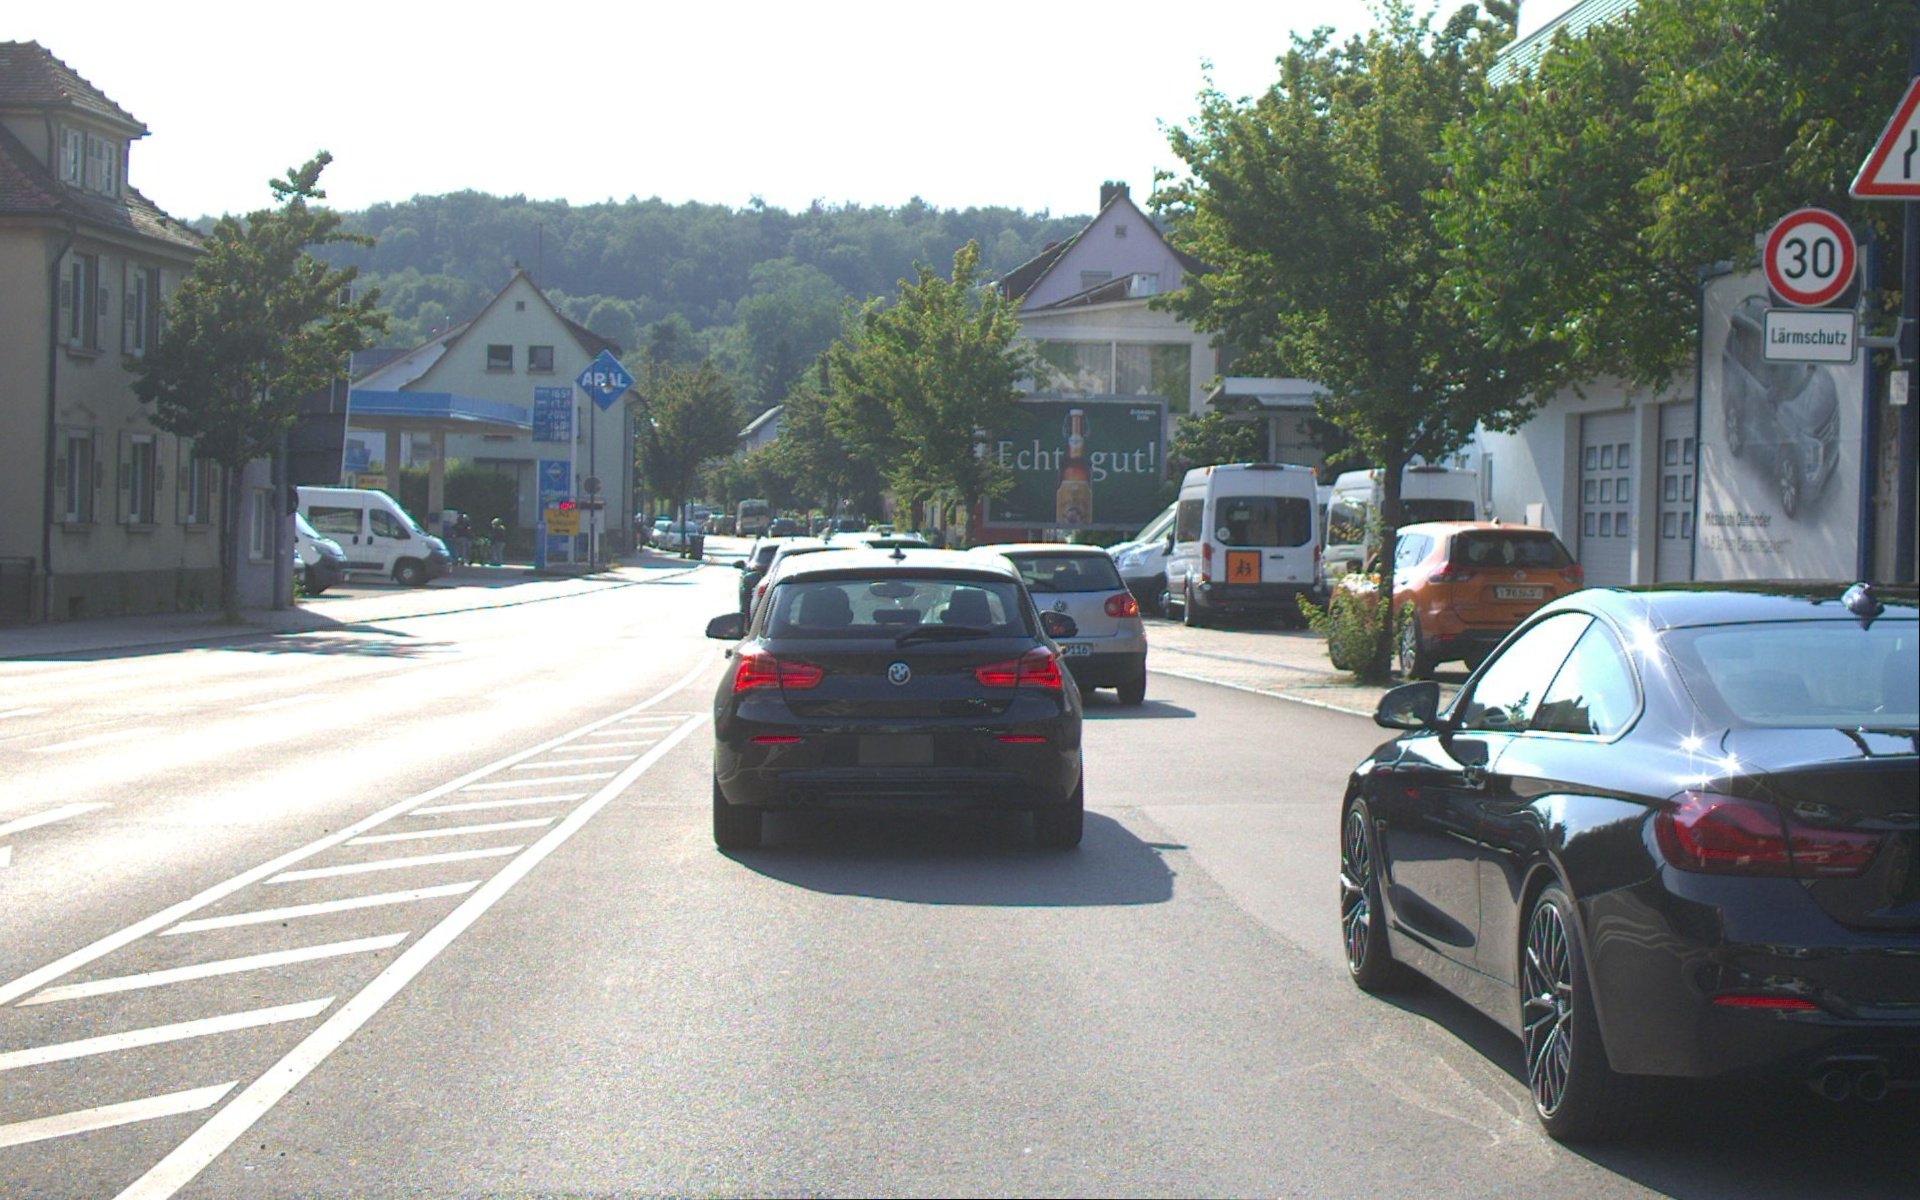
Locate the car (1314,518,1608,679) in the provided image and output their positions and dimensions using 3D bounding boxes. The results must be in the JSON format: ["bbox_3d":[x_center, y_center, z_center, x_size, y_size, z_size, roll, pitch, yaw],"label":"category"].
[{"bbox_3d":[5.349,-0.062,37.339,1.834,1.643,4.540,0,1,-10],"label":"car"}]

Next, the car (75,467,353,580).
[{"bbox_3d":[-17.355,-1.794,80.154,5.920,2.471,2.194,1,2,2],"label":"car"}]

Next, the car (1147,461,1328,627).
[{"bbox_3d":[4.679,-1.005,58.989,2.149,2.671,6.604,0,2,-4],"label":"car"}]

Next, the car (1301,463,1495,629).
[{"bbox_3d":[7.500,-0.976,59.614,2.111,2.712,6.444,0,2,-4],"label":"car"}]

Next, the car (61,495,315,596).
[{"bbox_3d":[-16.551,-1.181,73.858,4.976,1.992,1.935,1,3,1],"label":"car"}]

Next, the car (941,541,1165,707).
[{"bbox_3d":[0.813,0.187,32.032,1.753,1.409,3.422,0,2,-4],"label":"car"}]

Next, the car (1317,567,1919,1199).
[{"bbox_3d":[2.206,0.638,9.731,1.699,1.364,4.263,0,2,-3],"label":"car"}]

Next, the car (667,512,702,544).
[{"bbox_3d":[-13.496,-3.525,168.336,1.596,1.480,3.475,1,2,-3],"label":"car"}]

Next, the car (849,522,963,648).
[{"bbox_3d":[-0.759,-0.251,50.436,1.603,1.761,3.411,0,2,0],"label":"car"}]

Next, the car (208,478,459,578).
[{"bbox_3d":[-16.340,-1.893,89.946,6.158,2.436,2.250,1,2,-2],"label":"car"}]

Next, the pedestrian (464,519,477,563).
[{"bbox_3d":[-17.212,-2.091,120.939,0.407,1.541,0.433,0,2,-5],"label":"pedestrian"}]

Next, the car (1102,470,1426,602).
[{"bbox_3d":[5.904,-1.262,67.214,6.043,2.507,2.044,0,2,-4],"label":"car"}]

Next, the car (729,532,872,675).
[{"bbox_3d":[-1.877,0.004,41.319,1.591,1.594,3.894,0,2,-1],"label":"car"}]

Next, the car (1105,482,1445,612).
[{"bbox_3d":[5.829,-0.999,64.039,6.043,2.355,2.044,0,2,-4],"label":"car"}]

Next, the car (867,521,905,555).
[{"bbox_3d":[-3.359,-2.824,155.800,1.596,1.480,3.475,1,2,-3],"label":"car"}]

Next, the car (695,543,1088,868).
[{"bbox_3d":[-0.340,0.447,17.265,1.771,1.451,3.516,0,1,-1],"label":"car"}]
